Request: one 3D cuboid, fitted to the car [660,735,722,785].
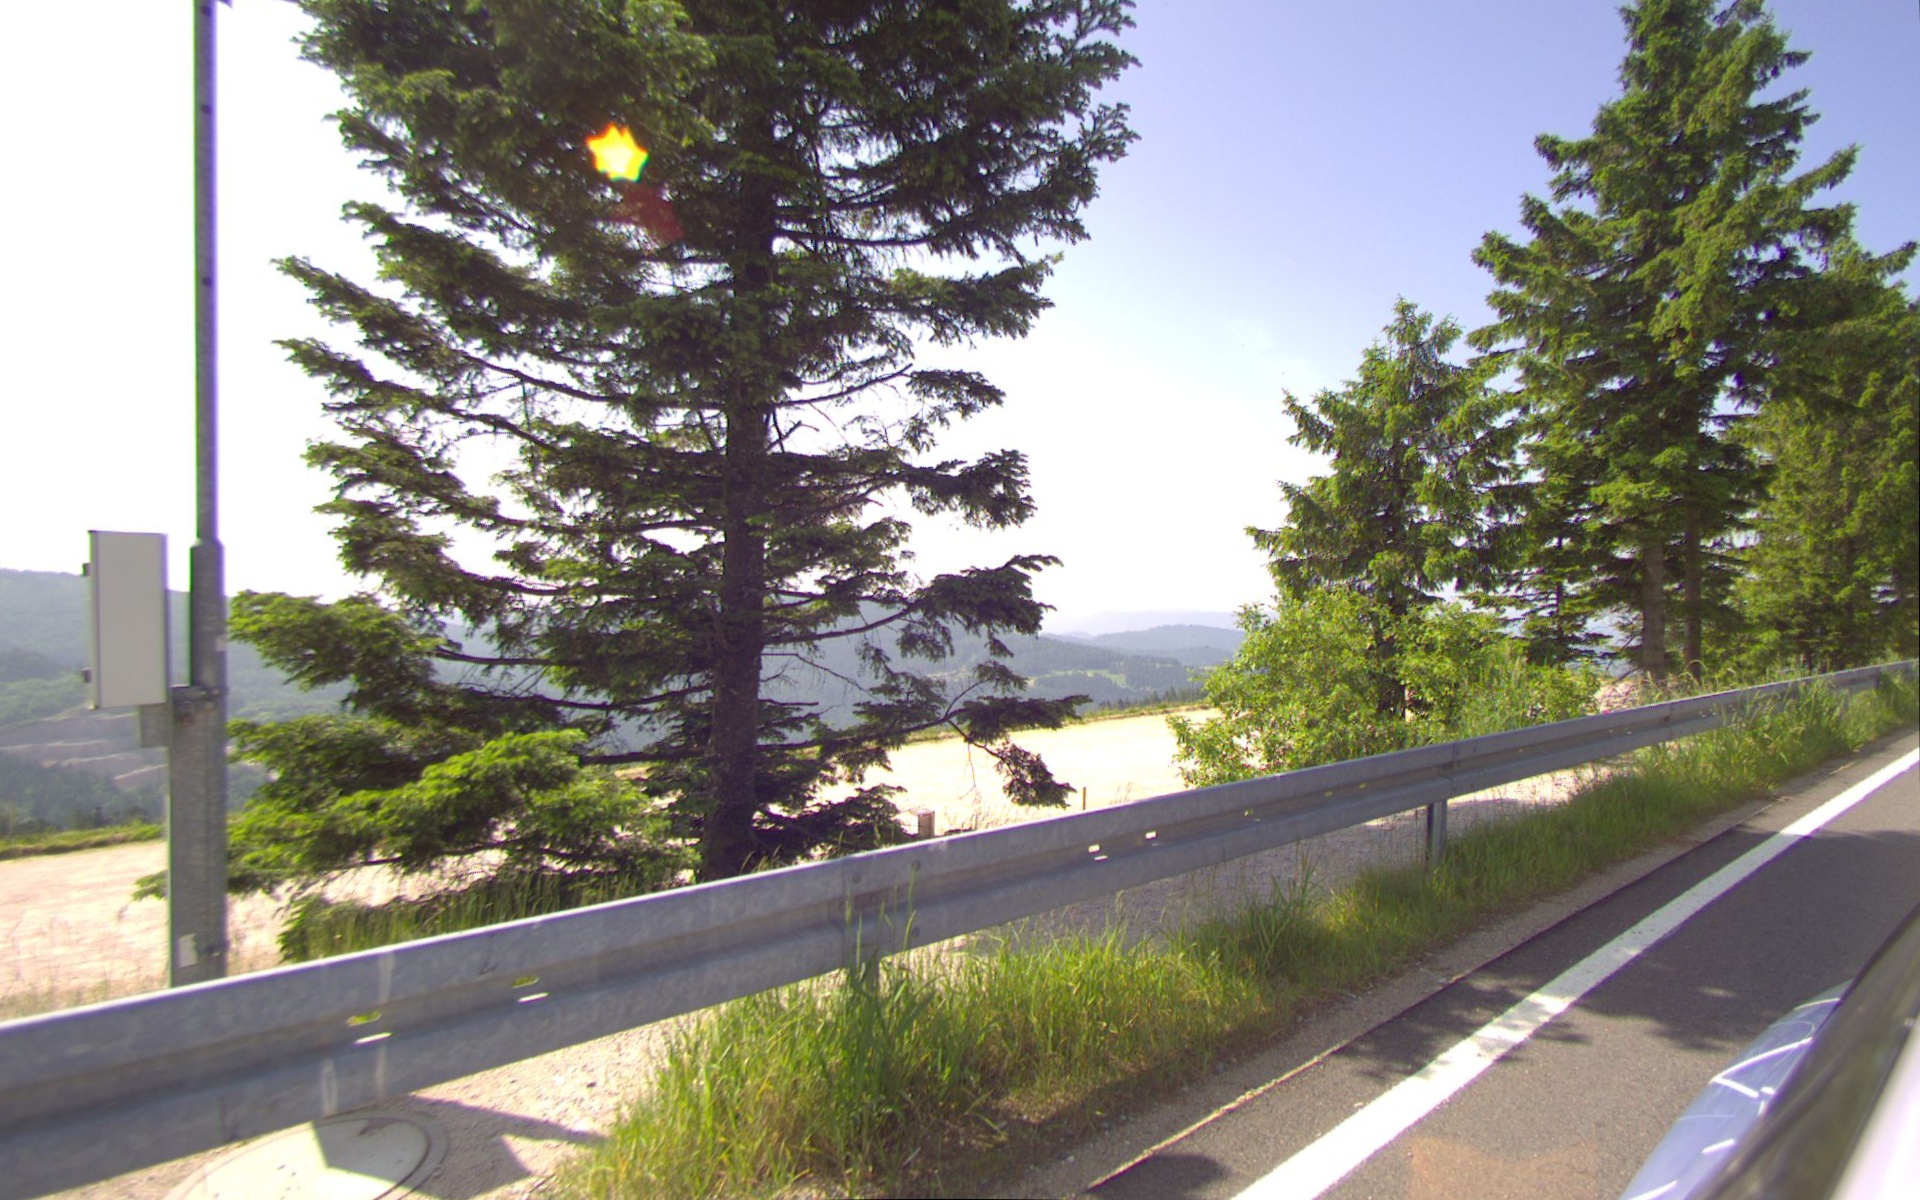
[{"bbox_3d":[-12.471,7.350,46.761,1.766,1.687,3.525,1,0,-32],"label":"car"}]

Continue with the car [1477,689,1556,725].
[{"bbox_3d":[33.316,6.364,60.648,1.805,1.616,3.785,-2,1,-25],"label":"car"}]
